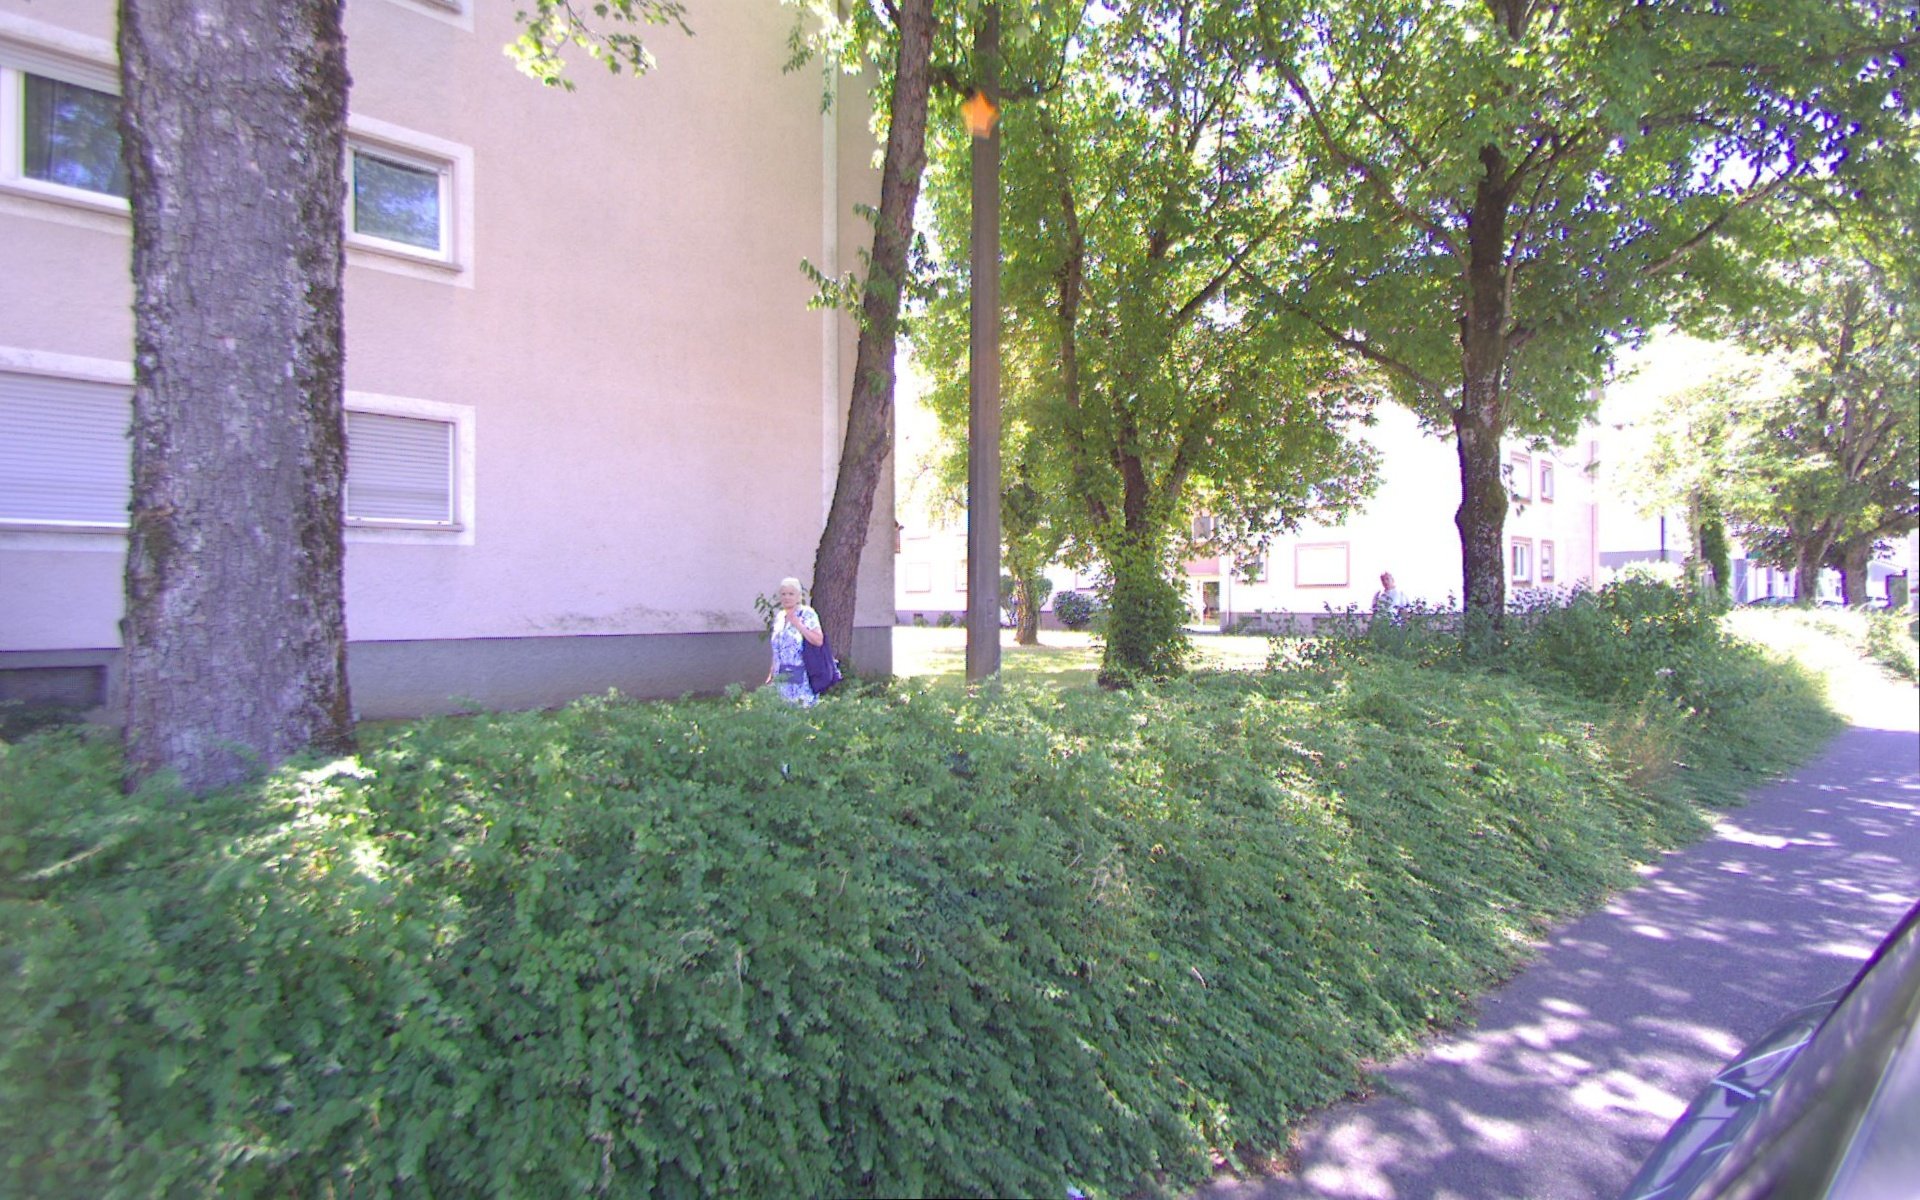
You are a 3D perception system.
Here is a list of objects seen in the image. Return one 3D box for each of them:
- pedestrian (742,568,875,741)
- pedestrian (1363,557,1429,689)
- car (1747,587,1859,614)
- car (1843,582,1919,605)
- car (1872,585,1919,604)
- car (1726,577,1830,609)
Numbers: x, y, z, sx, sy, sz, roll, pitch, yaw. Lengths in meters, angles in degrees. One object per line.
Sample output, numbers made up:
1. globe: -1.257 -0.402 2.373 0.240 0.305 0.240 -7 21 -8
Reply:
1. pedestrian: -1.263 0.419 8.444 0.873 1.351 0.662 -1 0 -41
2. pedestrian: 6.599 0.325 15.323 0.648 1.938 0.705 0 0 -38
3. car: 45.713 0.033 54.977 4.315 1.388 1.937 0 1 27
4. car: 70.958 -0.519 77.546 1.958 1.662 4.606 -1 1 -21
5. car: 76.402 -0.479 81.508 1.768 1.479 4.007 -1 1 -25
6. car: 42.830 -0.388 53.069 1.766 1.569 3.994 -1 2 -41
